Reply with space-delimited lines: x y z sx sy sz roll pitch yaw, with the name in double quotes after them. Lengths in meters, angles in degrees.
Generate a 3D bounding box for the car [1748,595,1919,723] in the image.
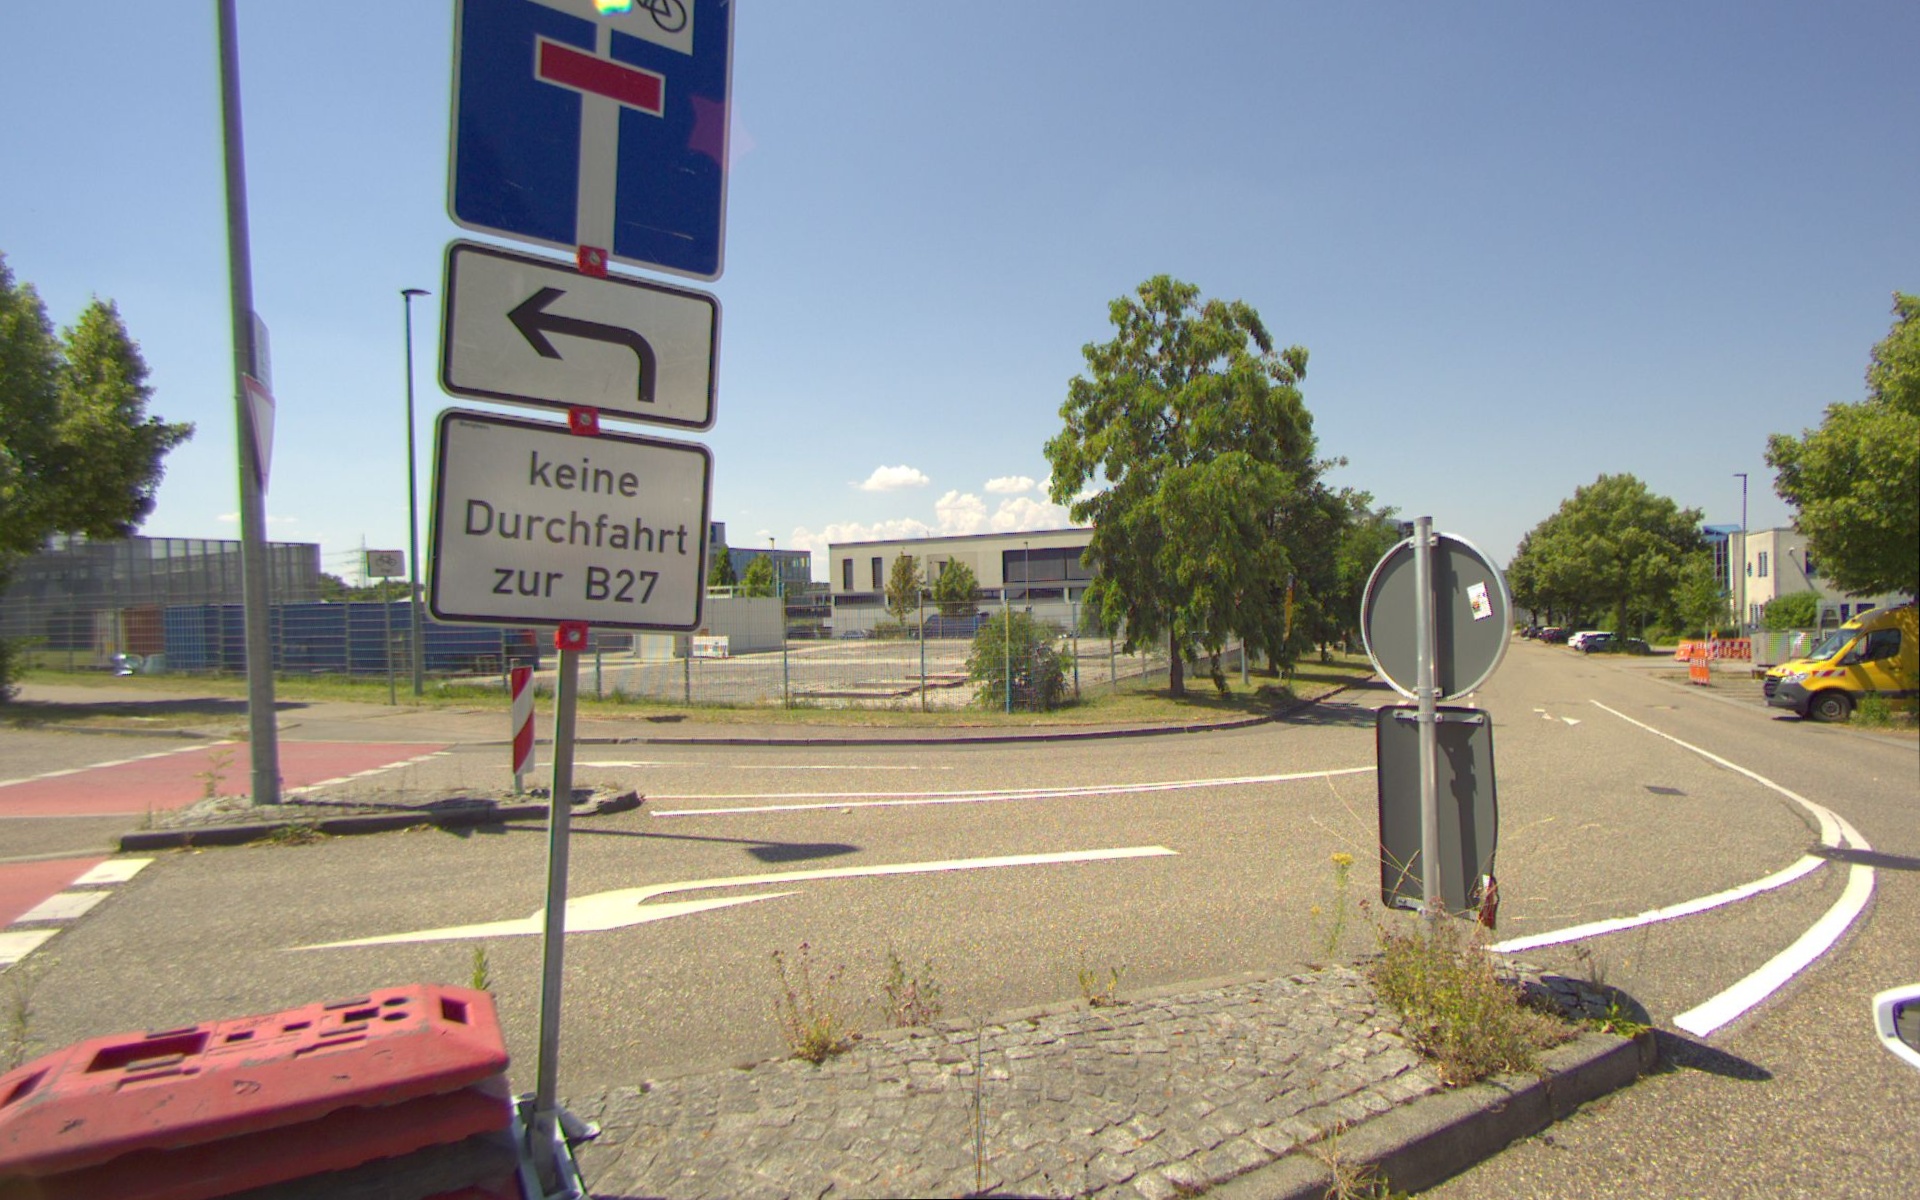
21.565 1.276 22.573 5.690 2.769 1.998 -2 -1 26 "car"

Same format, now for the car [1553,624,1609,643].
48.439 2.614 78.407 3.461 1.372 1.537 -3 -2 23 "car"

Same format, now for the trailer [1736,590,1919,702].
25.071 1.317 29.145 2.614 2.894 5.517 -3 -2 23 "trailer"

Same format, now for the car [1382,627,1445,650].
31.799 2.702 70.428 3.982 1.514 1.727 0 -1 25 "car"

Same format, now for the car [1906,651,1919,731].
19.738 1.706 18.100 3.546 1.498 1.626 -1 -2 26 "car"

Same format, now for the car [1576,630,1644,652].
44.898 2.825 69.452 3.621 1.372 1.644 -3 -2 23 "car"

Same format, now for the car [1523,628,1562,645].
71.217 4.426 122.823 3.867 1.860 1.766 0 2 20 "car"

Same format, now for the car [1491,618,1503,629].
91.026 4.017 170.424 1.734 1.778 3.939 0 -1 28 "car"

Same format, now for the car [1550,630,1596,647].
59.670 3.731 97.827 3.665 1.648 1.812 0 -1 27 "car"

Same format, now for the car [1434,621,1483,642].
36.291 2.283 73.182 3.008 1.498 1.292 1 -1 21 "car"
